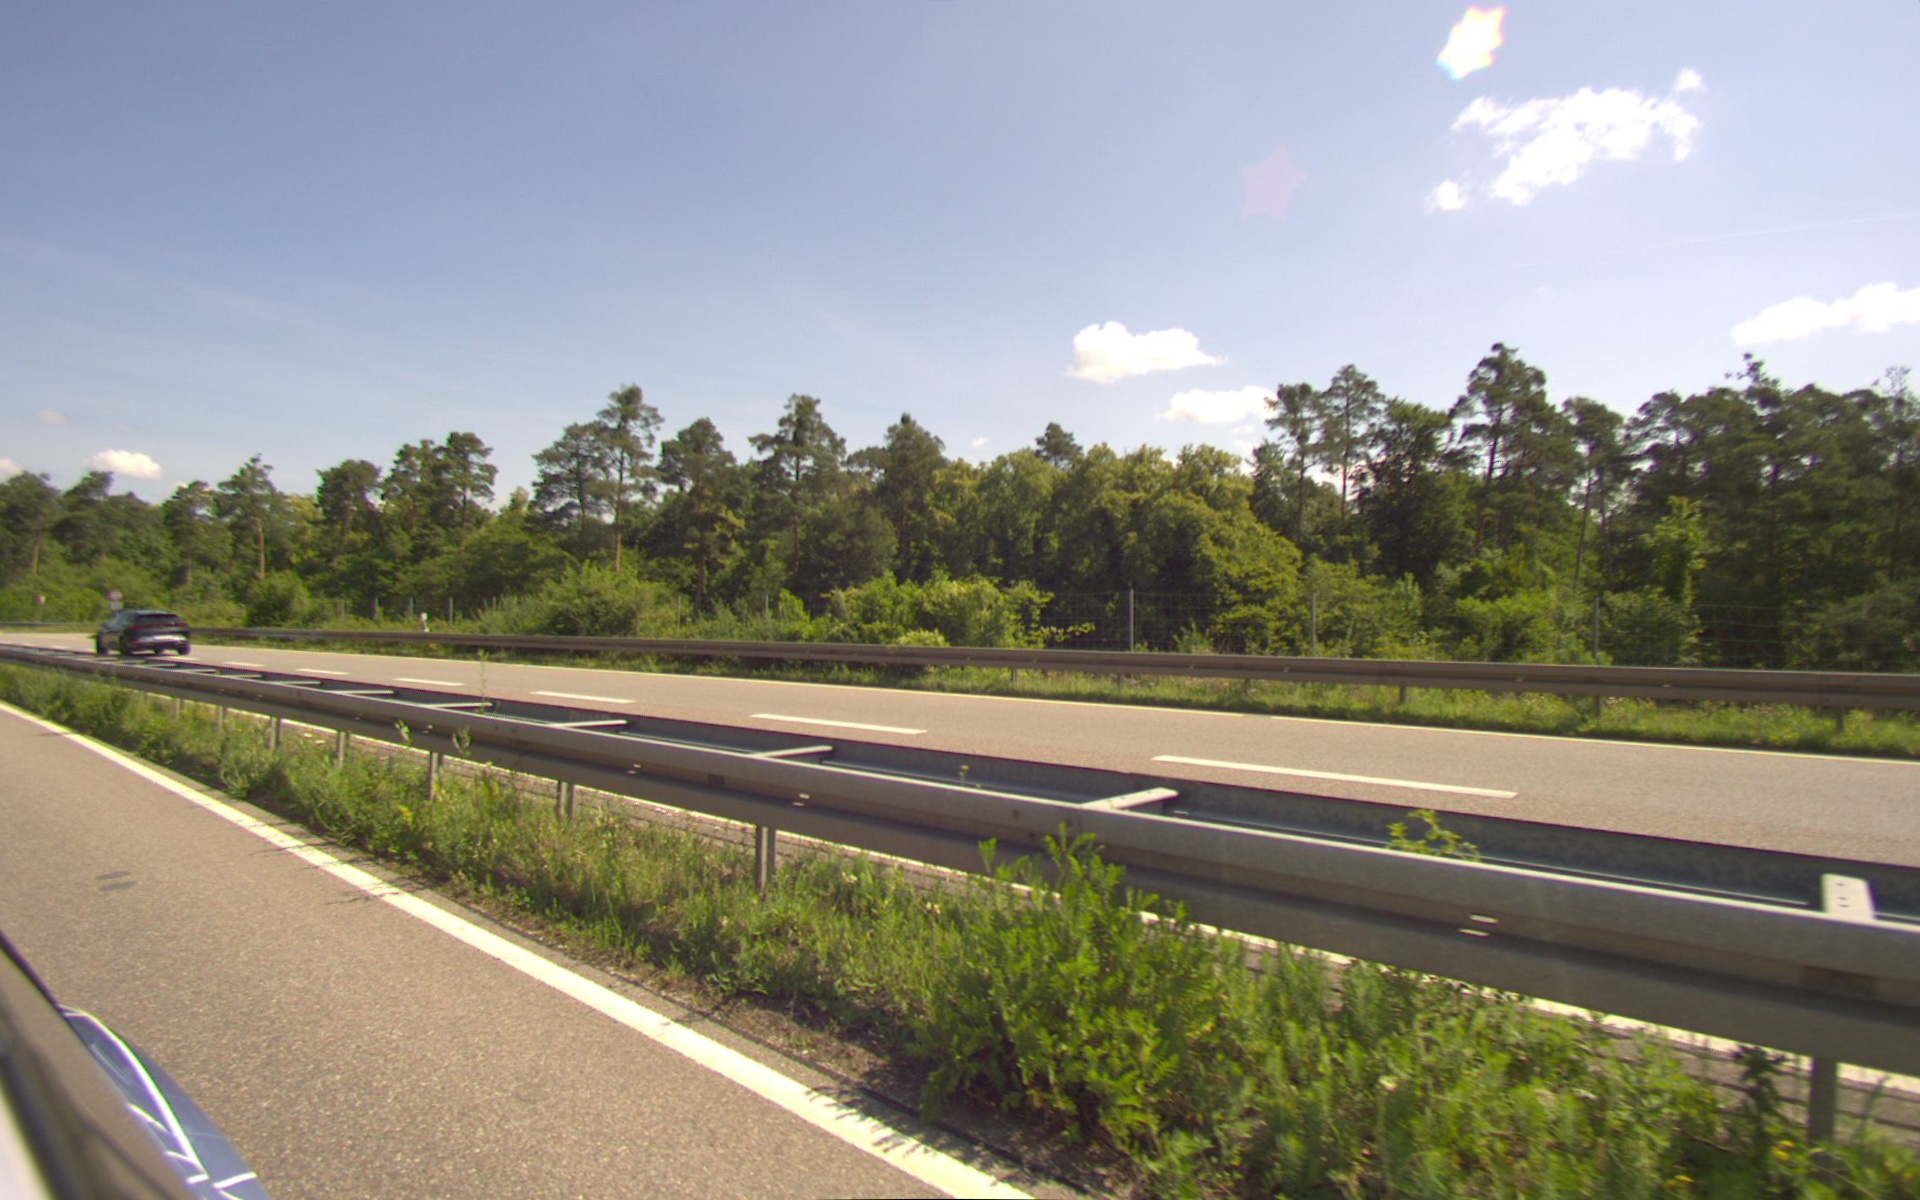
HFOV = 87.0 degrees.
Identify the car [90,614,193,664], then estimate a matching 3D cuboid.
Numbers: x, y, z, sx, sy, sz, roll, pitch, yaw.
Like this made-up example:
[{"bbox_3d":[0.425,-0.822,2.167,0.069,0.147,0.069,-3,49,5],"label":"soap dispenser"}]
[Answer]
[{"bbox_3d":[-27.459,1.271,33.912,4.568,1.512,1.739,-1,0,38],"label":"car"}]
